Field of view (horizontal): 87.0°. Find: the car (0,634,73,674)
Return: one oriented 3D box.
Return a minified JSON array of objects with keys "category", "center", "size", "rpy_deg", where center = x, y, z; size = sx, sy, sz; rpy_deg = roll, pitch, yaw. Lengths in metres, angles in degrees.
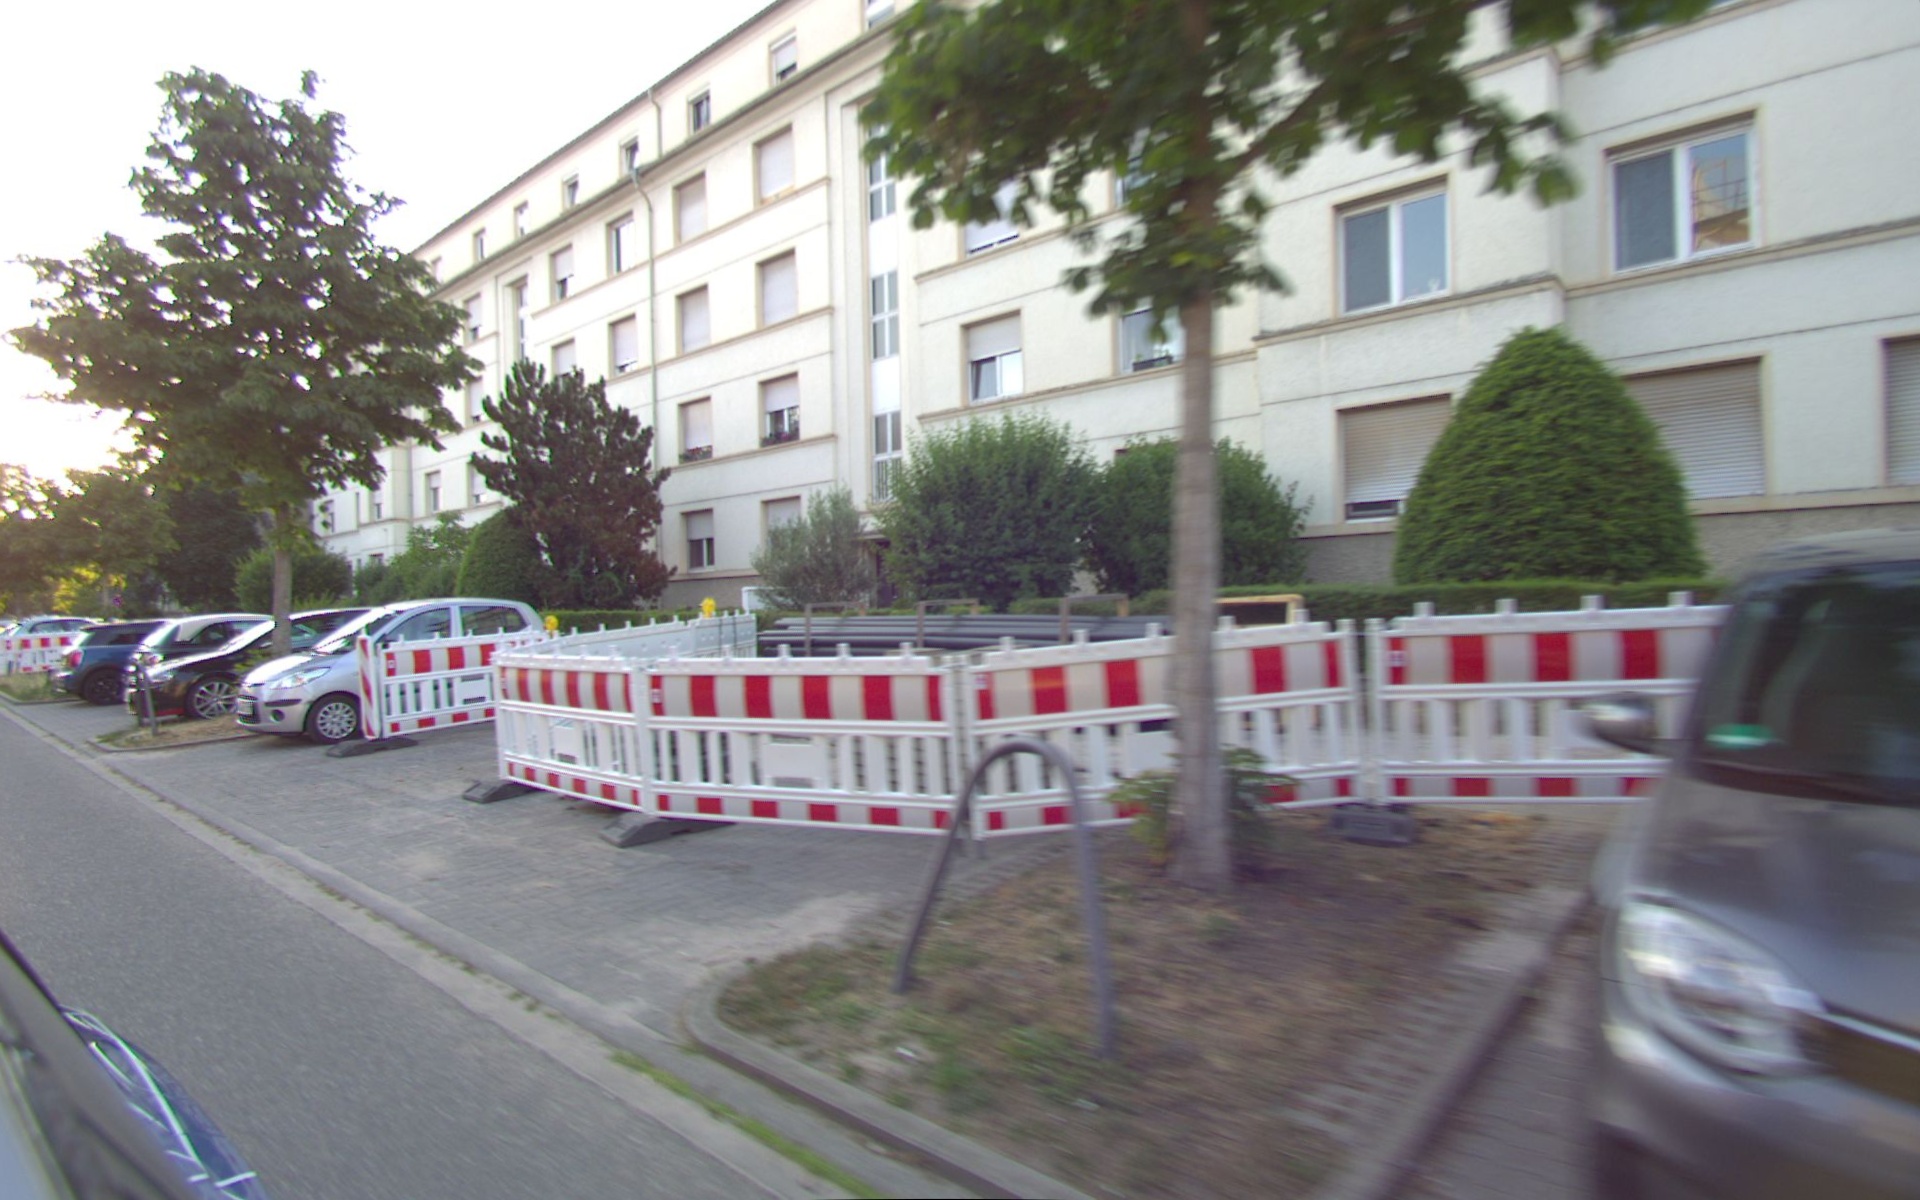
[{"category":"car","center":[-36.803,2.132,38.977],"size":[1.607,1.395,3.801],"rpy_deg":[-2,1,42]}]

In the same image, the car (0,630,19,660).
[{"category":"car","center":[-70.811,3.306,72.692],"size":[4.719,2.085,2.002],"rpy_deg":[-1,-1,-43]}]

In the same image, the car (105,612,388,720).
[{"category":"car","center":[-12.078,1.030,17.293],"size":[1.728,1.495,3.638],"rpy_deg":[-1,1,42]}]

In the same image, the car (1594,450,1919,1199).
[{"category":"car","center":[2.893,0.448,2.451],"size":[1.692,1.568,3.586],"rpy_deg":[-2,2,42]}]

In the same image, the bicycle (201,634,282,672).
[{"category":"bicycle","center":[-21.236,1.556,29.941],"size":[0.360,0.999,1.900],"rpy_deg":[-2,0,43]}]

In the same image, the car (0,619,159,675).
[{"category":"car","center":[-28.389,1.484,32.689],"size":[1.727,1.495,3.663],"rpy_deg":[-2,1,40]}]

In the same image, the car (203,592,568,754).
[{"category":"car","center":[-6.829,0.754,12.300],"size":[1.725,1.578,3.443],"rpy_deg":[-1,1,37]}]

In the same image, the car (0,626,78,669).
[{"category":"car","center":[-38.042,1.931,40.529],"size":[1.728,1.553,3.943],"rpy_deg":[-2,1,44]}]

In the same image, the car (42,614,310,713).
[{"category":"car","center":[-14.268,1.070,18.544],"size":[1.728,1.456,3.637],"rpy_deg":[-1,1,43]}]

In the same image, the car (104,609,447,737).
[{"category":"car","center":[-10.054,0.956,15.067],"size":[1.728,1.500,3.933],"rpy_deg":[-1,1,44]}]

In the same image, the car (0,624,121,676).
[{"category":"car","center":[-31.049,1.684,33.672],"size":[1.723,1.495,4.472],"rpy_deg":[-2,1,33]}]

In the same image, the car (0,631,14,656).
[{"category":"car","center":[-68.948,3.107,70.732],"size":[4.072,1.696,2.002],"rpy_deg":[-1,-1,-43]}]
